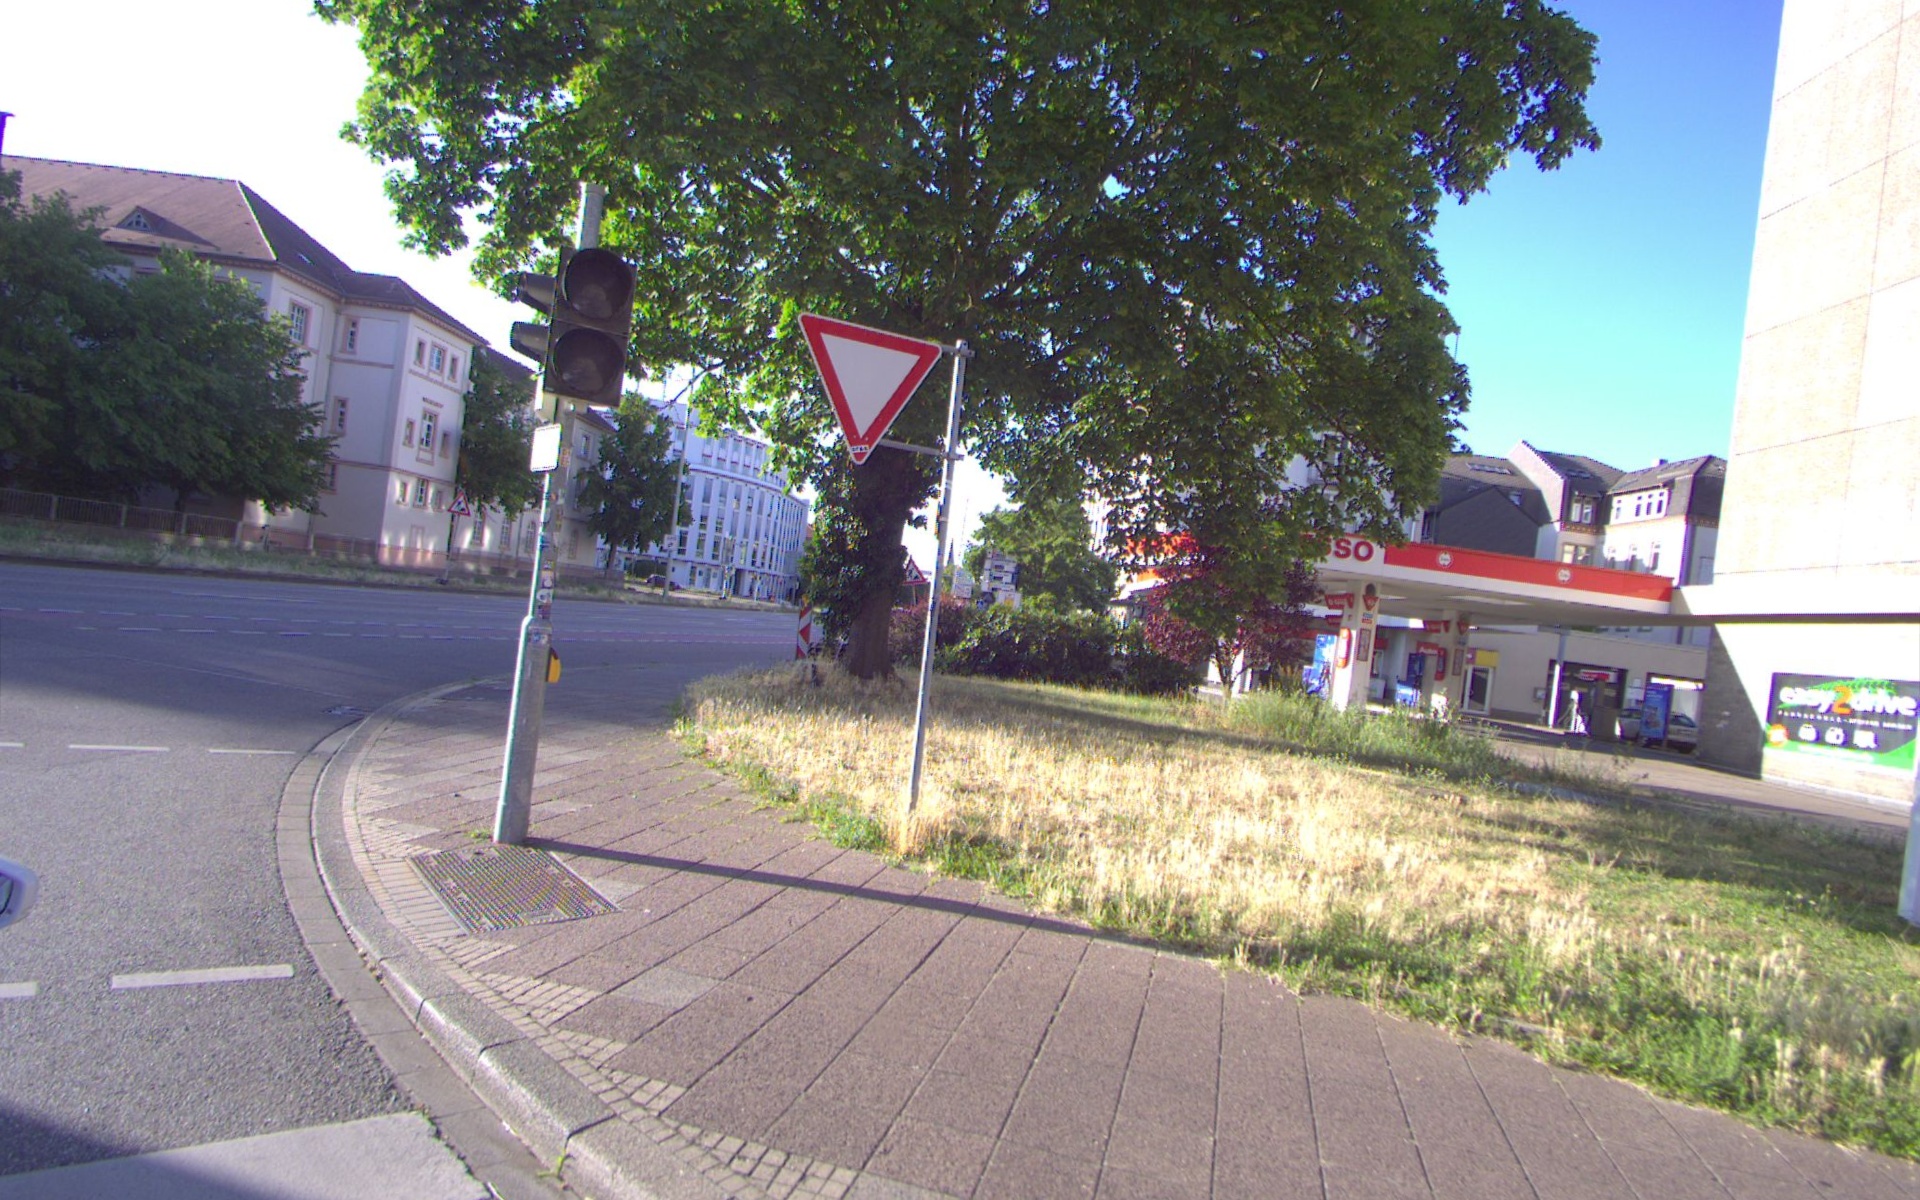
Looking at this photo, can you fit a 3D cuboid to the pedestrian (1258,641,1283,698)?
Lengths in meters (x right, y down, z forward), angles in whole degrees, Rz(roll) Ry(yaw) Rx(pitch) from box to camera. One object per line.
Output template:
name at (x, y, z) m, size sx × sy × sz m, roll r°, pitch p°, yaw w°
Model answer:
pedestrian at (9.781, 2.184, 31.705) m, size 0.414 × 1.726 × 0.418 m, roll 7°, pitch 0°, yaw -16°

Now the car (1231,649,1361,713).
car at (10.815, 2.579, 32.687) m, size 1.970 × 1.371 × 3.984 m, roll 7°, pitch 1°, yaw -16°

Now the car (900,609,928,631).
car at (-3.805, 1.659, 83.472) m, size 1.701 × 1.598 × 3.725 m, roll 7°, pitch -1°, yaw 5°

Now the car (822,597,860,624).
car at (-8.000, 0.743, 68.007) m, size 1.721 × 1.583 × 4.051 m, roll 7°, pitch -1°, yaw 3°

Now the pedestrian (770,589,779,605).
pedestrian at (-23.162, -0.357, 125.477) m, size 0.617 × 1.891 × 1.128 m, roll 7°, pitch 0°, yaw 8°

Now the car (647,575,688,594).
car at (-31.539, -1.644, 108.508) m, size 3.750 × 1.547 × 1.865 m, roll 6°, pitch -2°, yaw -1°

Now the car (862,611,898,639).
car at (-5.331, 1.670, 67.634) m, size 1.721 × 1.583 × 4.051 m, roll 7°, pitch -1°, yaw 3°

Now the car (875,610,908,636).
car at (-4.876, 1.667, 72.468) m, size 1.728 × 1.506 × 3.728 m, roll 6°, pitch -3°, yaw 5°

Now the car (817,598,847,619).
car at (-11.081, 0.753, 87.218) m, size 1.659 × 1.474 × 4.002 m, roll 8°, pitch -1°, yaw 3°

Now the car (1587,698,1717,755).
car at (25.246, 4.579, 36.907) m, size 1.719 × 1.437 × 4.257 m, roll 7°, pitch -1°, yaw 1°

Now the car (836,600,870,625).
car at (-7.891, 0.944, 74.558) m, size 1.721 × 1.583 × 4.051 m, roll 7°, pitch -1°, yaw 3°
